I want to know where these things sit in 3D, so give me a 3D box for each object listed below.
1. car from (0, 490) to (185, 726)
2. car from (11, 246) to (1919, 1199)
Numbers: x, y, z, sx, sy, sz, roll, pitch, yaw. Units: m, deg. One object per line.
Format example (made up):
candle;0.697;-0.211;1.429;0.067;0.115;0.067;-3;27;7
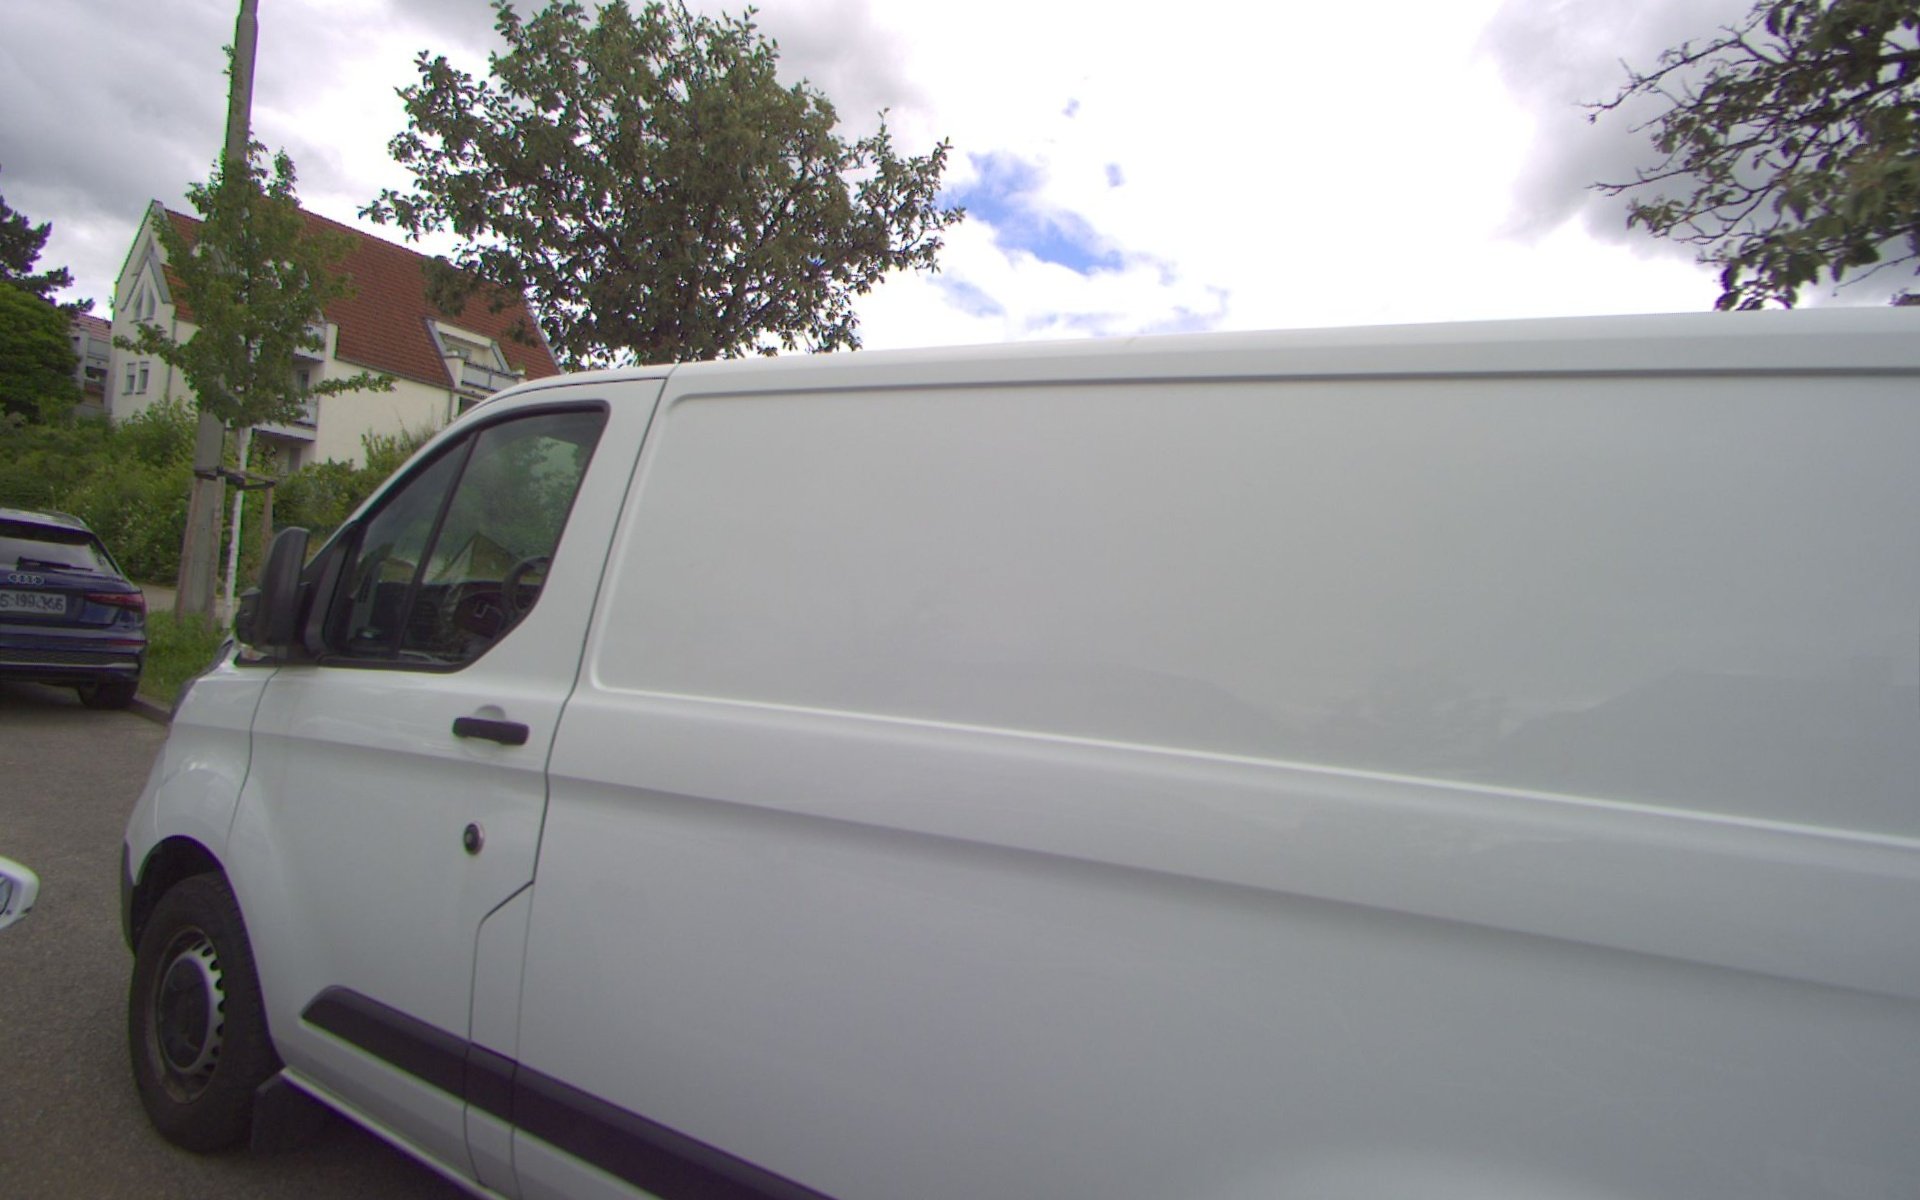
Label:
car;-7.954;-0.142;7.704;4.150;1.534;1.668;7;-1;31
car;-0.205;0.587;2.473;4.709;1.966;1.778;7;-1;31
